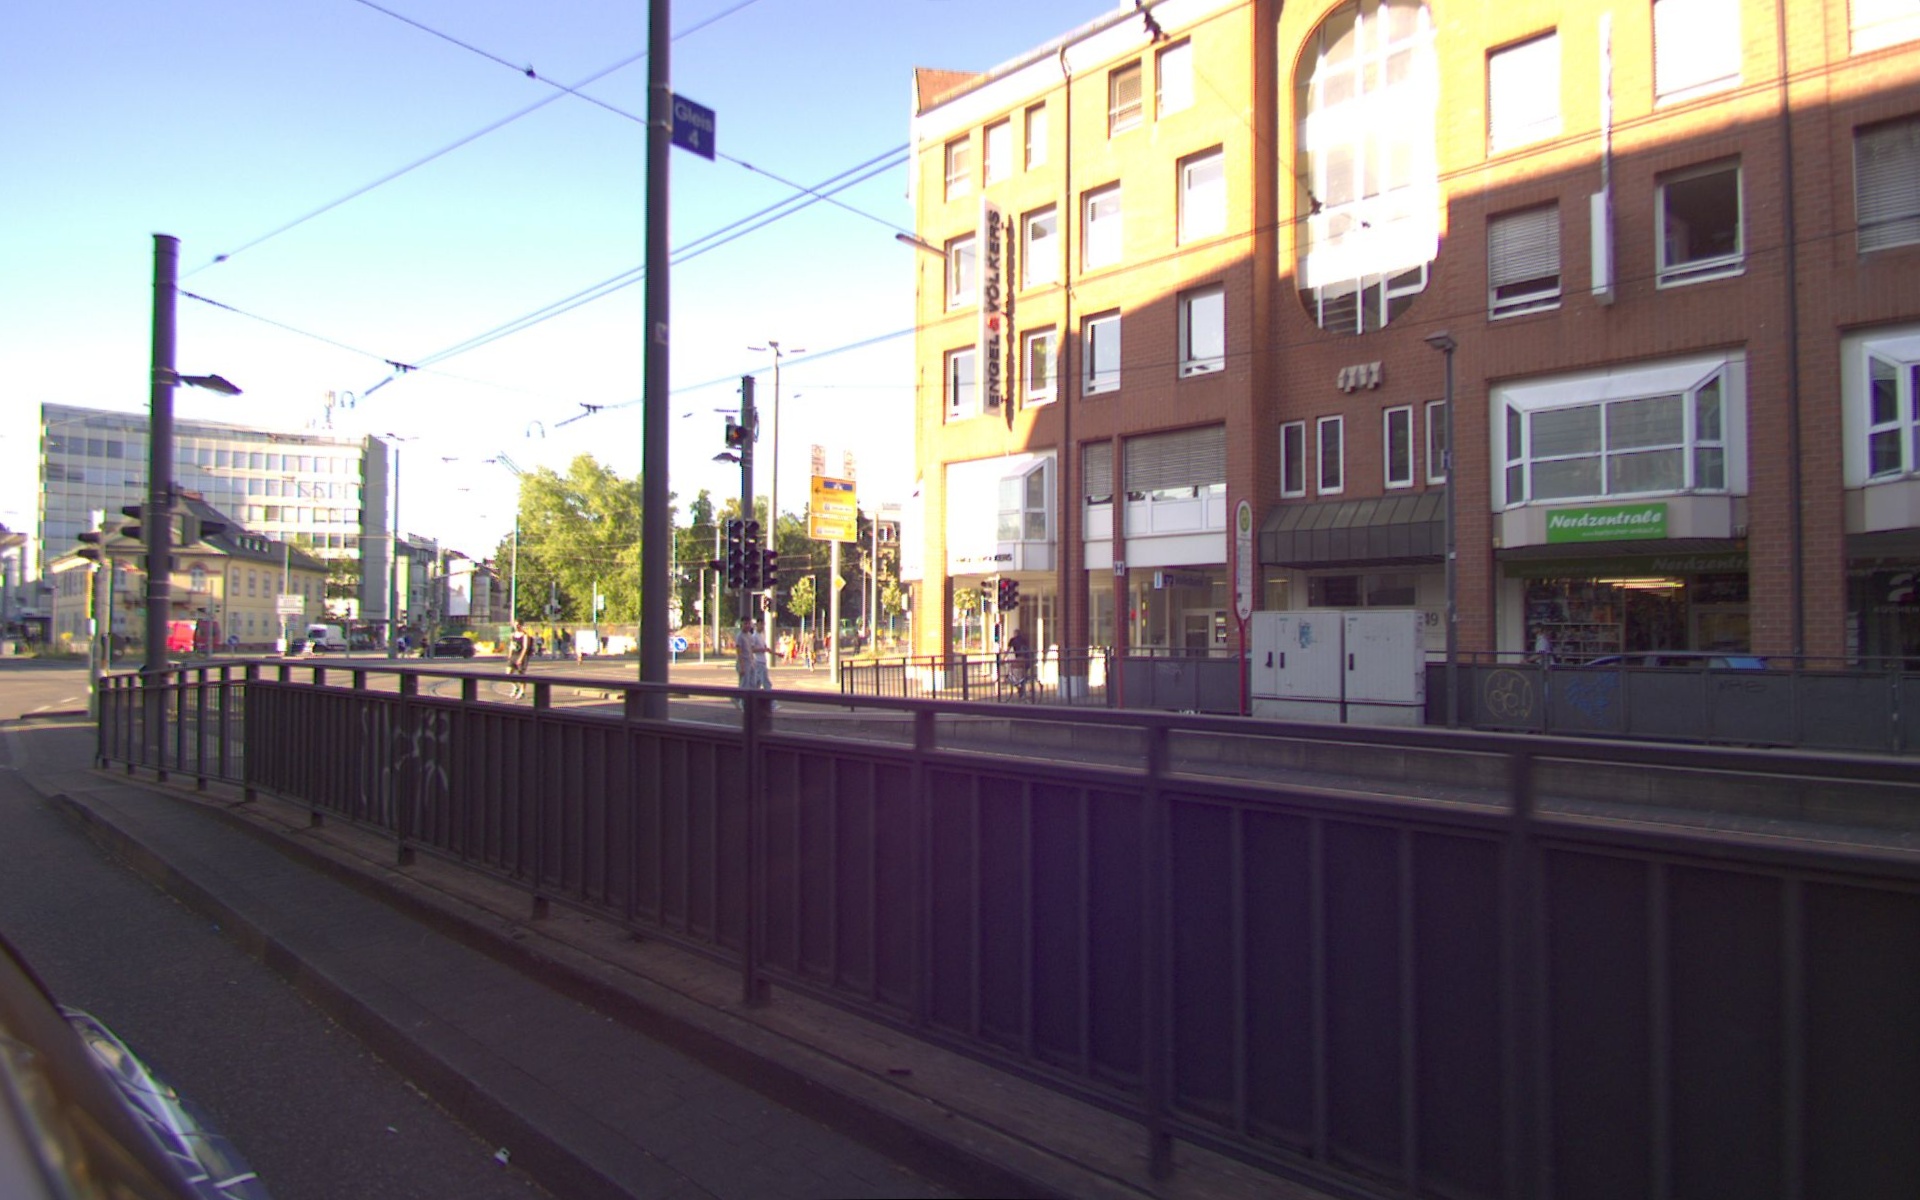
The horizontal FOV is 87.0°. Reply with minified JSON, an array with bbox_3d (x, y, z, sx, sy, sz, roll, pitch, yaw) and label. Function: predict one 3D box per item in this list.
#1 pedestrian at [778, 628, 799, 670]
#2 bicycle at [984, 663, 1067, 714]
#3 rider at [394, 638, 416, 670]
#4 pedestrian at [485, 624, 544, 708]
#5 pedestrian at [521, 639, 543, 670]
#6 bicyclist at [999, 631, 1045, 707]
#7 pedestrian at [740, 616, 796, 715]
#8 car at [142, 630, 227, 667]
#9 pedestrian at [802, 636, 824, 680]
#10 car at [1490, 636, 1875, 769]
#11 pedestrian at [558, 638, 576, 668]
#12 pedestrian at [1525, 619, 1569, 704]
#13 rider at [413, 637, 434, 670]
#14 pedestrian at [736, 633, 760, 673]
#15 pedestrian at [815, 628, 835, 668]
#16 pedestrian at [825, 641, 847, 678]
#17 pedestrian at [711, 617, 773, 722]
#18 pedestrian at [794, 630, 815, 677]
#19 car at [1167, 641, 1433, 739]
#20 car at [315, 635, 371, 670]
[{"bbox_3d":[-8.426,2.405,49.733,0.849,2.029,0.811,-2,0,1],"label":"pedestrian"},{"bbox_3d":[1.588,2.132,24.757,2.053,1.129,0.567,-2,0,39],"label":"bicycle"},{"bbox_3d":[-36.198,3.504,65.994,0.997,2.029,1.023,-2,0,-14],"label":"rider"},{"bbox_3d":[-9.965,1.464,22.666,0.852,1.817,0.808,-2,0,13],"label":"pedestrian"},{"bbox_3d":[-28.992,3.680,68.569,1.058,2.029,0.990,-2,0,-44],"label":"pedestrian"},{"bbox_3d":[1.516,1.676,24.770,0.810,1.780,0.729,-2,0,39],"label":"bicyclist"},{"bbox_3d":[-3.604,1.219,19.067,0.801,1.780,0.860,-2,0,3],"label":"pedestrian"},{"bbox_3d":[-55.228,3.443,72.040,5.388,2.474,2.523,-2,-1,24],"label":"car"},{"bbox_3d":[-6.286,2.475,43.264,0.847,1.780,0.813,-2,0,-11],"label":"pedestrian"},{"bbox_3d":[10.083,1.339,14.365,4.194,1.612,1.873,-2,-3,41],"label":"car"},{"bbox_3d":[-27.233,3.681,70.203,0.997,2.029,0.992,-2,0,-14],"label":"pedestrian"},{"bbox_3d":[11.875,1.225,20.475,0.637,1.674,0.605,-2,-2,41],"label":"pedestrian"},{"bbox_3d":[-34.945,3.473,65.919,0.997,2.029,0.992,-2,0,-14],"label":"rider"},{"bbox_3d":[-10.989,2.727,52.473,0.857,2.029,0.804,-2,0,28],"label":"pedestrian"},{"bbox_3d":[-7.077,2.487,53.104,0.849,2.029,0.811,-2,0,1],"label":"pedestrian"},{"bbox_3d":[-5.403,2.568,43.971,0.847,1.522,0.813,-2,0,-11],"label":"pedestrian"},{"bbox_3d":[-3.871,1.214,17.987,0.801,1.780,0.859,-2,0,7],"label":"pedestrian"},{"bbox_3d":[-7.011,2.399,45.553,0.847,2.029,0.813,-2,0,-11],"label":"pedestrian"},{"bbox_3d":[6.003,1.535,18.142,4.117,1.541,1.882,-2,-4,41],"label":"car"},{"bbox_3d":[-59.549,5.025,97.871,2.501,3.071,6.389,2,-2,-12],"label":"car"}]
